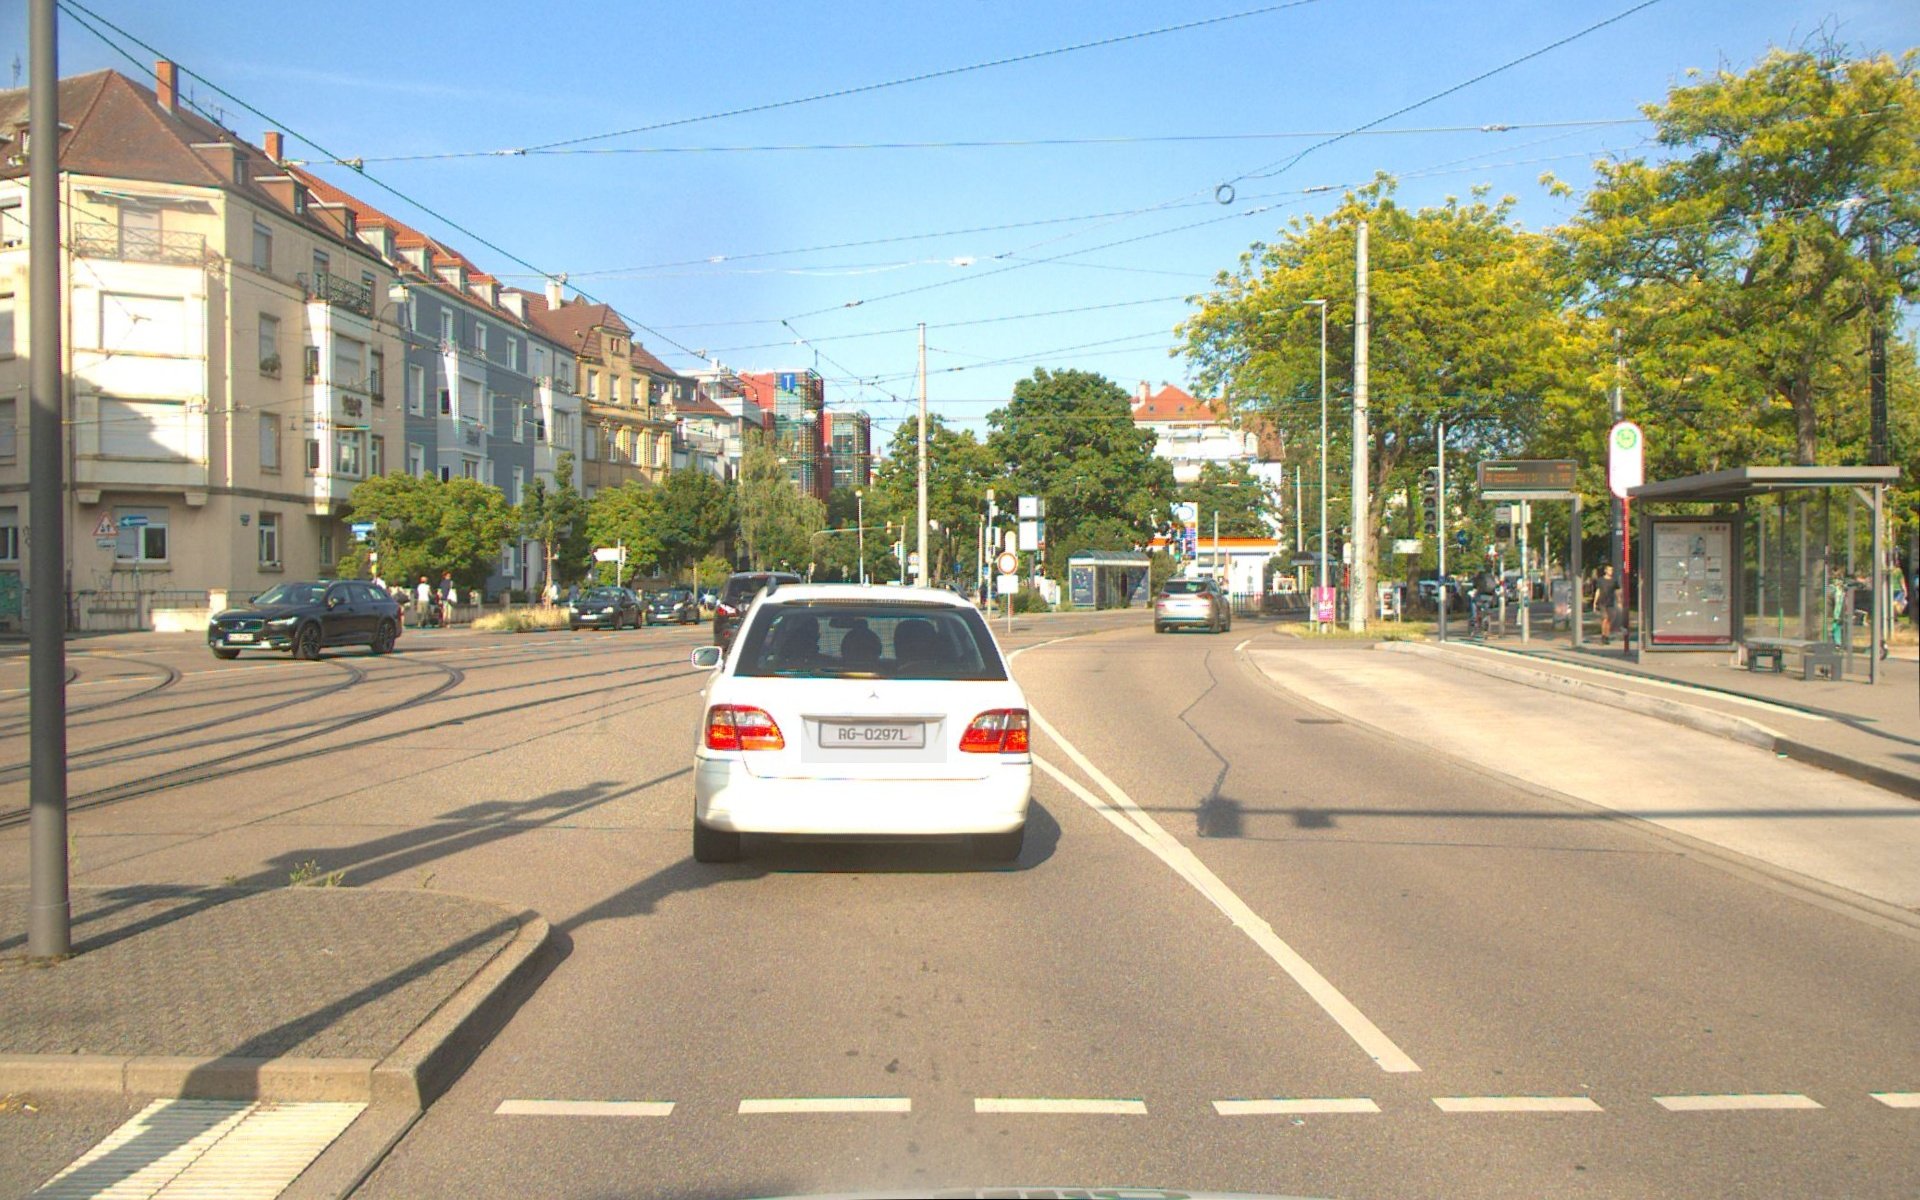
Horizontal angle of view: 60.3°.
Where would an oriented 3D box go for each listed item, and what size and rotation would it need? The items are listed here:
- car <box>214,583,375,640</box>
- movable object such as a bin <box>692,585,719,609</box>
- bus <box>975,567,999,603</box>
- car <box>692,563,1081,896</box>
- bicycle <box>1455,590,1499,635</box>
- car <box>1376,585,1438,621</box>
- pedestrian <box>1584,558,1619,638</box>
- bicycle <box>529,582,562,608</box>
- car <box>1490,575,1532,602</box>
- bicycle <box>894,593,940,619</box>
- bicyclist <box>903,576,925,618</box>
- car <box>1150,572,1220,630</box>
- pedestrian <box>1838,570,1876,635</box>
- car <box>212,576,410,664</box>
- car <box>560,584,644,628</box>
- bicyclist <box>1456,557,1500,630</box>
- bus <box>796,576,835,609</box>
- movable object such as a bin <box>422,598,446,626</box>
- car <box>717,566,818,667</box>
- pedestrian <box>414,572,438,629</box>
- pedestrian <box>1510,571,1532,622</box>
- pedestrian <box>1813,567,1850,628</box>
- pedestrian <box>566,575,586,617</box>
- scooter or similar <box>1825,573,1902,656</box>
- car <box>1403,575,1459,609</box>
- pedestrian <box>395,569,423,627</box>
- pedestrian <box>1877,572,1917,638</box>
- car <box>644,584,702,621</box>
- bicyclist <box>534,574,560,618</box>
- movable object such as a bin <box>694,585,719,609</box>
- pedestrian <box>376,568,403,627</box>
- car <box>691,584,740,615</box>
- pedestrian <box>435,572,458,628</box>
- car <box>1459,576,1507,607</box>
[{"bbox_3d":[-18.475,0.285,45.951,3.948,1.482,1.781,-1,1,-32],"label":"car"},{"bbox_3d":[-15.530,-0.198,101.027,1.573,1.446,1.082,-1,0,-8],"label":"movable object such as a bin"},{"bbox_3d":[2.027,-1.098,125.511,1.761,2.600,4.000,2,0,1],"label":"bus"},{"bbox_3d":[-0.603,0.598,9.627,1.801,1.527,3.808,1,0,-8],"label":"car"},{"bbox_3d":[13.259,0.308,42.454,0.627,1.107,1.734,-3,0,2],"label":"bicycle"},{"bbox_3d":[20.037,0.119,74.005,1.818,1.542,3.994,-2,0,28],"label":"car"},{"bbox_3d":[14.749,-0.041,38.036,0.565,1.808,0.588,2,0,7],"label":"pedestrian"},{"bbox_3d":[-16.106,-0.204,64.331,0.753,0.982,2.034,0,1,0],"label":"bicycle"},{"bbox_3d":[33.334,-0.689,100.019,1.818,1.542,3.995,-2,0,27],"label":"car"},{"bbox_3d":[-1.811,0.240,69.741,1.875,1.011,0.726,-2,0,-1],"label":"bicycle"},{"bbox_3d":[-1.929,-0.124,69.737,0.881,1.728,0.732,-2,0,-1],"label":"bicyclist"},{"bbox_3d":[6.745,0.033,49.278,1.796,1.628,3.818,1,0,12],"label":"car"},{"bbox_3d":[23.802,0.062,43.884,0.628,1.694,0.690,0,0,-2],"label":"pedestrian"},{"bbox_3d":[-12.723,0.339,32.785,1.729,1.520,4.747,0,2,4],"label":"car"},{"bbox_3d":[-12.270,0.183,56.836,1.729,1.458,4.002,0,1,4],"label":"car"},{"bbox_3d":[13.221,-0.168,42.213,0.705,1.776,1.140,-3,0,2],"label":"bicyclist"},{"bbox_3d":[-7.631,-0.401,87.638,1.807,1.665,4.158,0,0,-1],"label":"bus"},{"bbox_3d":[-18.132,0.404,57.027,0.570,0.963,0.663,0,0,8],"label":"movable object such as a bin"},{"bbox_3d":[-3.405,0.256,29.140,1.610,1.628,3.809,1,0,-7],"label":"car"},{"bbox_3d":[-18.192,0.015,56.307,0.572,1.914,0.627,0,0,2],"label":"pedestrian"},{"bbox_3d":[18.596,-0.123,54.801,0.627,1.694,0.691,0,0,14],"label":"pedestrian"},{"bbox_3d":[23.635,-0.080,44.838,0.628,1.638,0.690,0,0,-2],"label":"pedestrian"},{"bbox_3d":[-16.477,-0.165,70.974,0.625,1.781,0.911,-1,0,2],"label":"pedestrian"},{"bbox_3d":[13.930,0.213,25.525,0.345,1.253,1.131,0,0,-15],"label":"scooter or similar"},{"bbox_3d":[22.504,-0.387,78.956,1.818,1.542,3.995,-2,0,27],"label":"car"},{"bbox_3d":[-18.033,-0.055,54.147,0.660,1.880,0.650,0,0,6],"label":"pedestrian"},{"bbox_3d":[24.312,0.120,42.927,0.628,1.694,0.690,0,0,-2],"label":"pedestrian"},{"bbox_3d":[-11.739,0.077,67.875,1.600,1.458,3.630,0,1,2],"label":"car"},{"bbox_3d":[-16.114,-0.179,64.558,0.744,1.697,1.167,0,0,0],"label":"bicyclist"},{"bbox_3d":[-15.712,-0.199,102.369,1.505,1.446,1.082,-1,0,-8],"label":"movable object such as a bin"},{"bbox_3d":[-18.658,-0.088,54.088,0.645,1.914,0.627,0,0,2],"label":"pedestrian"},{"bbox_3d":[-12.114,-0.054,81.993,1.654,1.466,4.002,-1,1,2],"label":"car"},{"bbox_3d":[-17.528,-0.008,56.461,0.572,1.914,0.627,0,0,4],"label":"pedestrian"},{"bbox_3d":[28.314,-0.474,89.430,1.818,1.542,3.995,-2,0,27],"label":"car"}]
